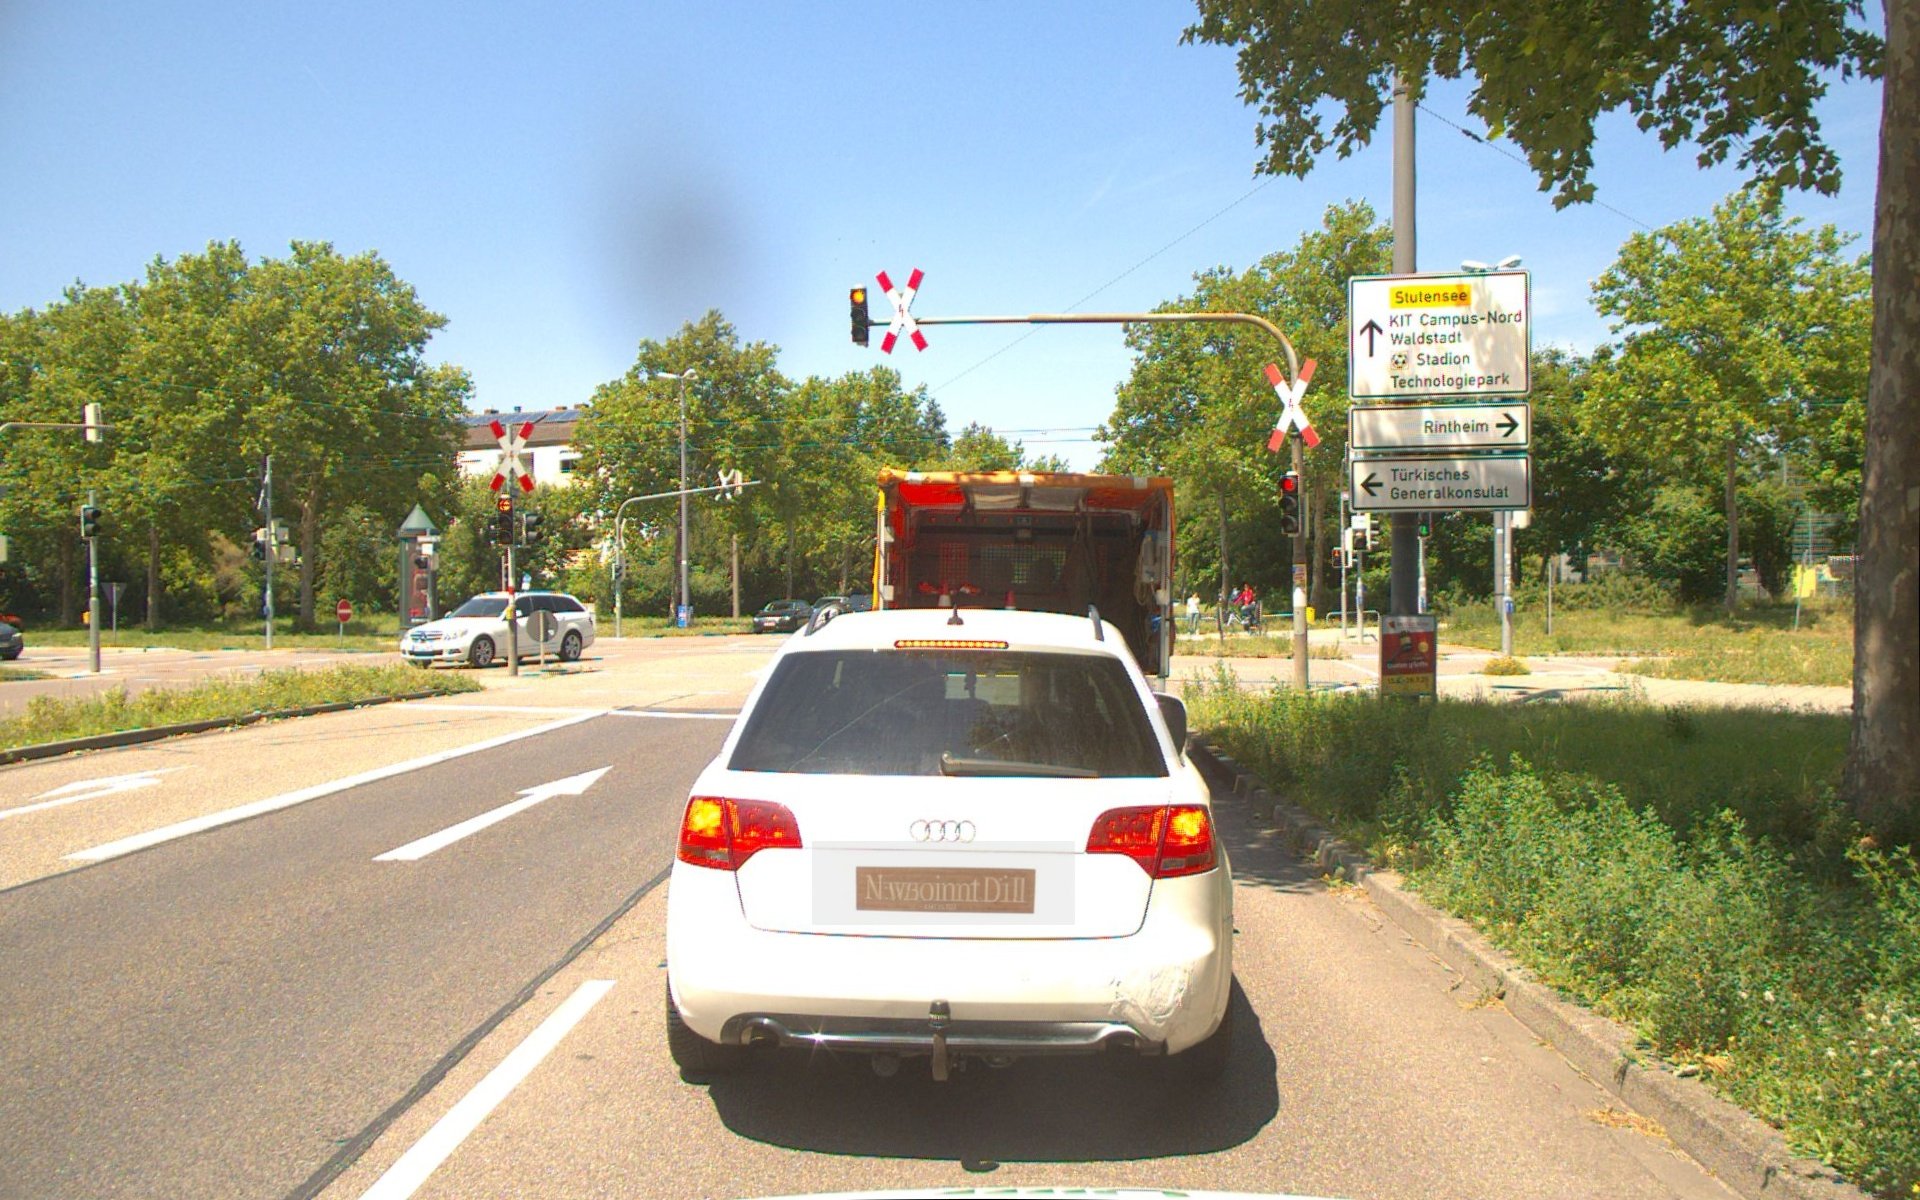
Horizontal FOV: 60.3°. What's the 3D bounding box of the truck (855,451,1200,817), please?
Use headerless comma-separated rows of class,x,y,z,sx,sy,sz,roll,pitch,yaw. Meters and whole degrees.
truck,0.641,0.245,15.765,2.459,2.604,7.605,1,0,2

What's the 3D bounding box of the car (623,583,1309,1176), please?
car,0.113,0.690,5.987,1.725,1.470,3.617,0,0,3

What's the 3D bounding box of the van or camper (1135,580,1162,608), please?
van or camper,23.011,-0.711,201.654,2.604,3.389,5.505,0,0,14

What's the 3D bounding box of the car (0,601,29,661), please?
car,-25.497,0.793,41.796,3.907,1.483,1.760,0,0,32

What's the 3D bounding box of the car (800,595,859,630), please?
car,-6.326,0.573,80.656,1.749,1.643,4.408,-1,0,11

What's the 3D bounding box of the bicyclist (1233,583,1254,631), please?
bicyclist,9.577,0.230,55.939,0.657,1.583,0.580,-1,0,7

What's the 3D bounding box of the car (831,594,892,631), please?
car,-4.384,0.522,74.047,1.868,1.566,4.302,-1,0,8

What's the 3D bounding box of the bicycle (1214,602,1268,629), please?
bicycle,9.509,0.521,55.952,1.767,0.911,0.589,-1,0,7

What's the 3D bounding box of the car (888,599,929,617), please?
car,-4.330,0.678,139.133,1.844,1.417,3.997,0,0,26

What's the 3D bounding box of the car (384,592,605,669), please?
car,-9.437,0.571,33.926,1.817,1.443,4.544,-1,0,25

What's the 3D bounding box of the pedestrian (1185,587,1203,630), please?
pedestrian,8.263,0.312,58.487,0.541,1.510,0.630,-1,0,16

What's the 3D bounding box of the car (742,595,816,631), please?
car,-7.969,0.535,73.258,1.907,1.465,4.751,0,1,12
